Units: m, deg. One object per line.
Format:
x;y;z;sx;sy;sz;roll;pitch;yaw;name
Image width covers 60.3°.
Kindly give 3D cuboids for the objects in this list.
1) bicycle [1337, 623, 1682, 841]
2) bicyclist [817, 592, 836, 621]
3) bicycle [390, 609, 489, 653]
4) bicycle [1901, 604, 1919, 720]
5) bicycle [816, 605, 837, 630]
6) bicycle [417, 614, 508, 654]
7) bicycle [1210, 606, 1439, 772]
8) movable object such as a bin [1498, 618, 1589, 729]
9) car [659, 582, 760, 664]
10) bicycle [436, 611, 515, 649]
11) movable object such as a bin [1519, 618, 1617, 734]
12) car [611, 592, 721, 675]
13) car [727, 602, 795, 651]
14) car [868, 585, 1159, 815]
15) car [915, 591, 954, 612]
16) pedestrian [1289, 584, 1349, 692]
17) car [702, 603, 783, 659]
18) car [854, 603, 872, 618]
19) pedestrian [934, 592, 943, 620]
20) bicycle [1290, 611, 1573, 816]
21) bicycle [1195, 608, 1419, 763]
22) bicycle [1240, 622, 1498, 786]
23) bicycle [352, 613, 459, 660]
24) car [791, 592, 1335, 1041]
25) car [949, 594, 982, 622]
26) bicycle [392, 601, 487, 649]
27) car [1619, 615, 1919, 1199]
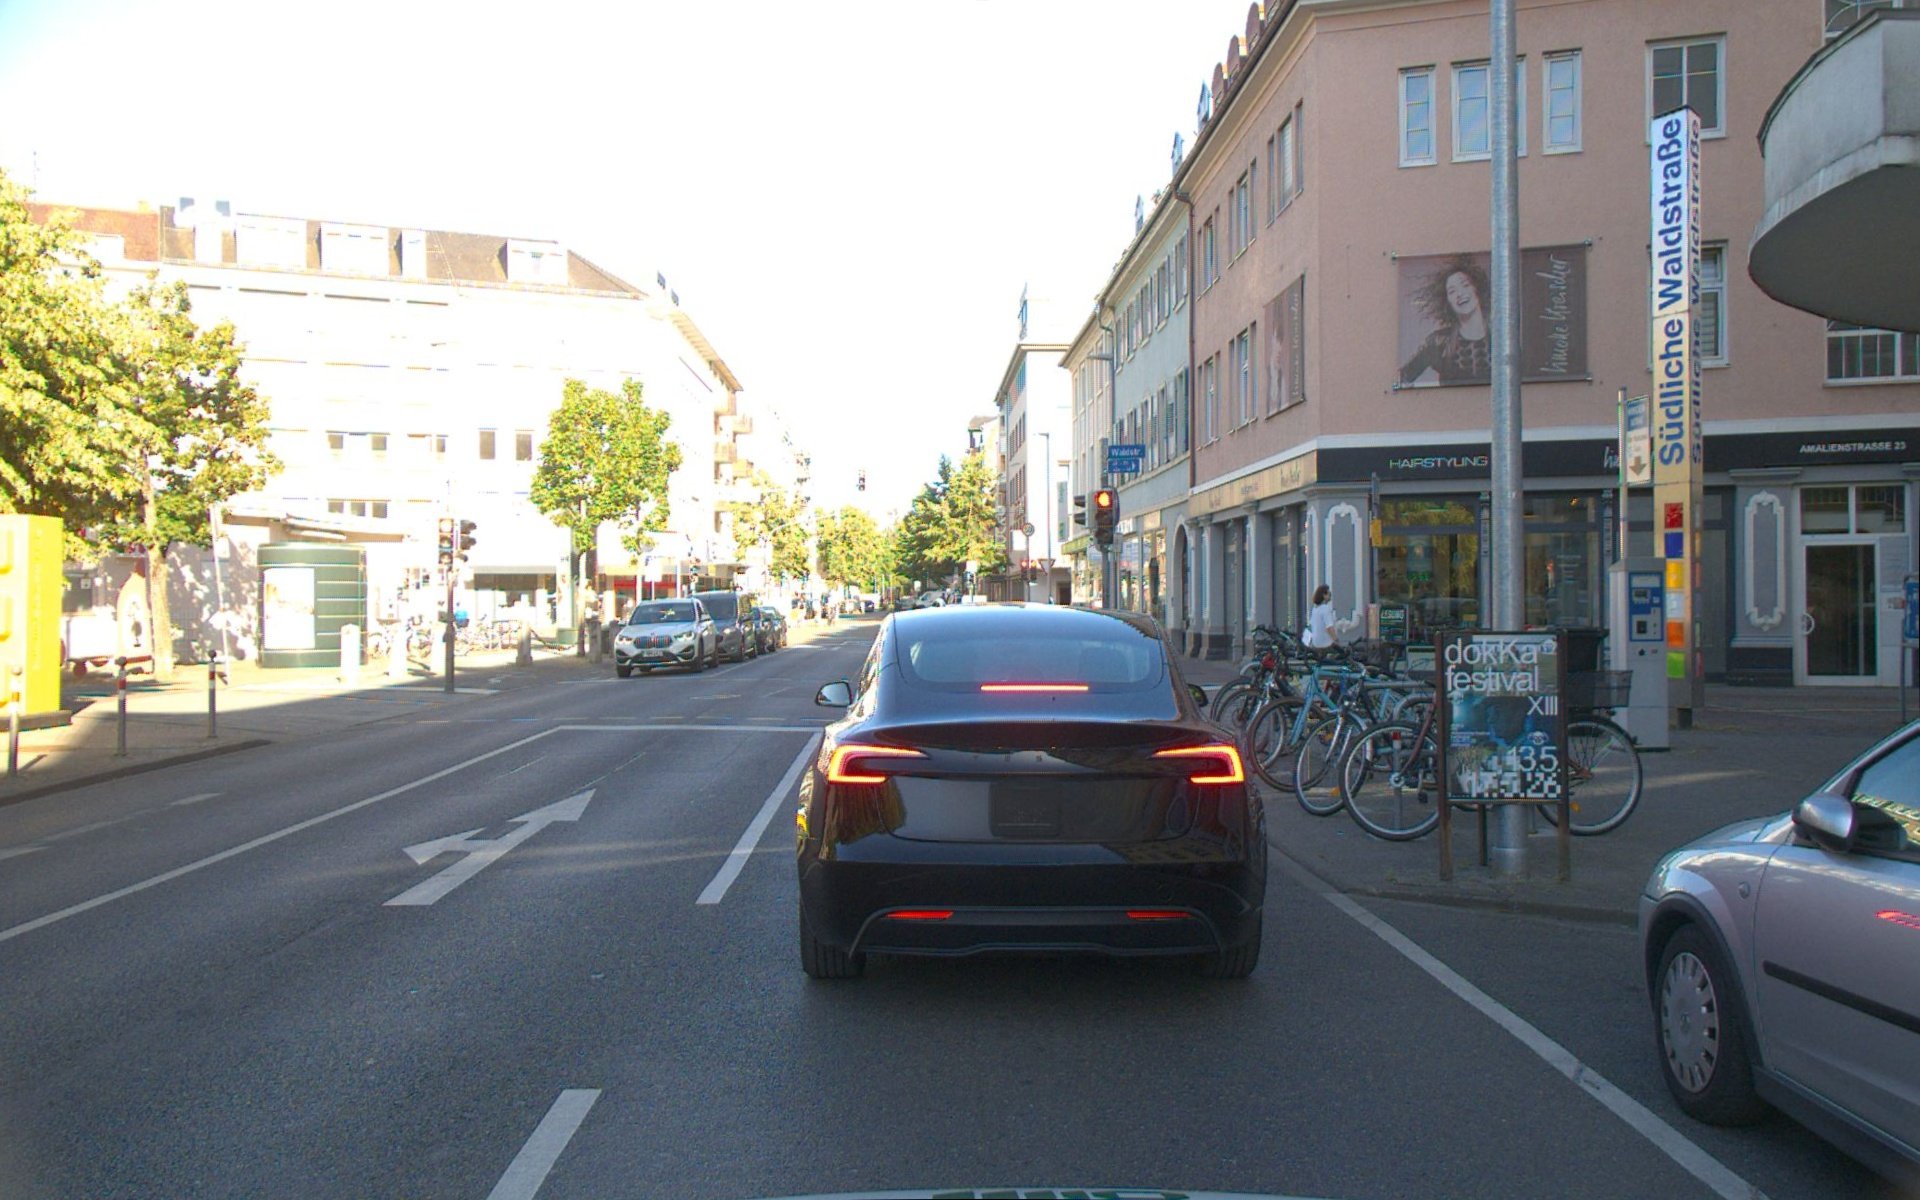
3.288;0.781;10.029;1.846;1.214;0.692;-2;1;5;bicycle
-7.714;0.369;95.496;1.104;1.657;0.964;0;0;-4;bicyclist
-14.102;0.841;44.890;2.412;1.176;0.842;0;0;-2;bicycle
10.308;0.649;17.008;0.645;1.220;2.212;0;0;18;bicycle
-7.698;0.996;95.403;1.089;1.368;3.997;0;0;-4;bicycle
-14.889;1.013;49.567;2.485;1.176;0.841;0;0;-6;bicycle
2.989;0.718;13.687;1.709;1.289;0.781;-2;0;2;bicycle
6.025;0.748;17.104;0.718;1.111;0.627;1;0;1;movable object such as a bin
-6.367;0.536;42.504;1.797;1.877;4.674;-4;0;0;car
-15.213;0.940;51.990;2.279;1.176;0.841;0;0;-6;bicycle
6.046;0.745;16.467;0.737;1.111;0.627;1;0;1;movable object such as a bin
-6.379;0.686;36.239;1.771;1.582;4.307;-4;0;-3;car
-6.804;0.870;56.911;1.954;1.461;4.671;-4;0;-3;car
0.289;0.665;13.208;1.953;1.538;4.173;0;0;-2;car
-2.572;0.155;167.518;3.907;2.049;1.999;0;0;-2;car
5.298;0.552;24.424;0.732;1.579;0.699;0;0;-1;pedestrian
-6.421;0.882;49.326;1.954;1.434;4.671;-4;0;-3;car
-10.986;1.209;186.894;1.954;1.666;3.997;0;0;-4;car
-1.580;0.468;120.940;0.628;2.049;0.690;0;0;-5;pedestrian
3.141;0.746;11.159;1.686;1.290;0.791;-2;0;5;bicycle
3.054;0.745;14.719;1.822;1.280;0.833;-2;0;5;bicycle
3.058;0.768;12.509;1.760;1.144;0.782;-2;0;5;bicycle
-14.189;0.922;42.356;2.455;1.176;0.842;0;0;-2;bicycle
0.316;0.721;7.499;1.810;1.480;3.999;0;0;-1;car
0.308;0.482;100.867;1.953;1.657;3.999;0;0;-1;car
-14.711;0.696;46.813;2.429;1.347;0.921;0;0;-6;bicycle
2.933;0.775;3.519;1.580;1.406;3.642;1;0;0;car
